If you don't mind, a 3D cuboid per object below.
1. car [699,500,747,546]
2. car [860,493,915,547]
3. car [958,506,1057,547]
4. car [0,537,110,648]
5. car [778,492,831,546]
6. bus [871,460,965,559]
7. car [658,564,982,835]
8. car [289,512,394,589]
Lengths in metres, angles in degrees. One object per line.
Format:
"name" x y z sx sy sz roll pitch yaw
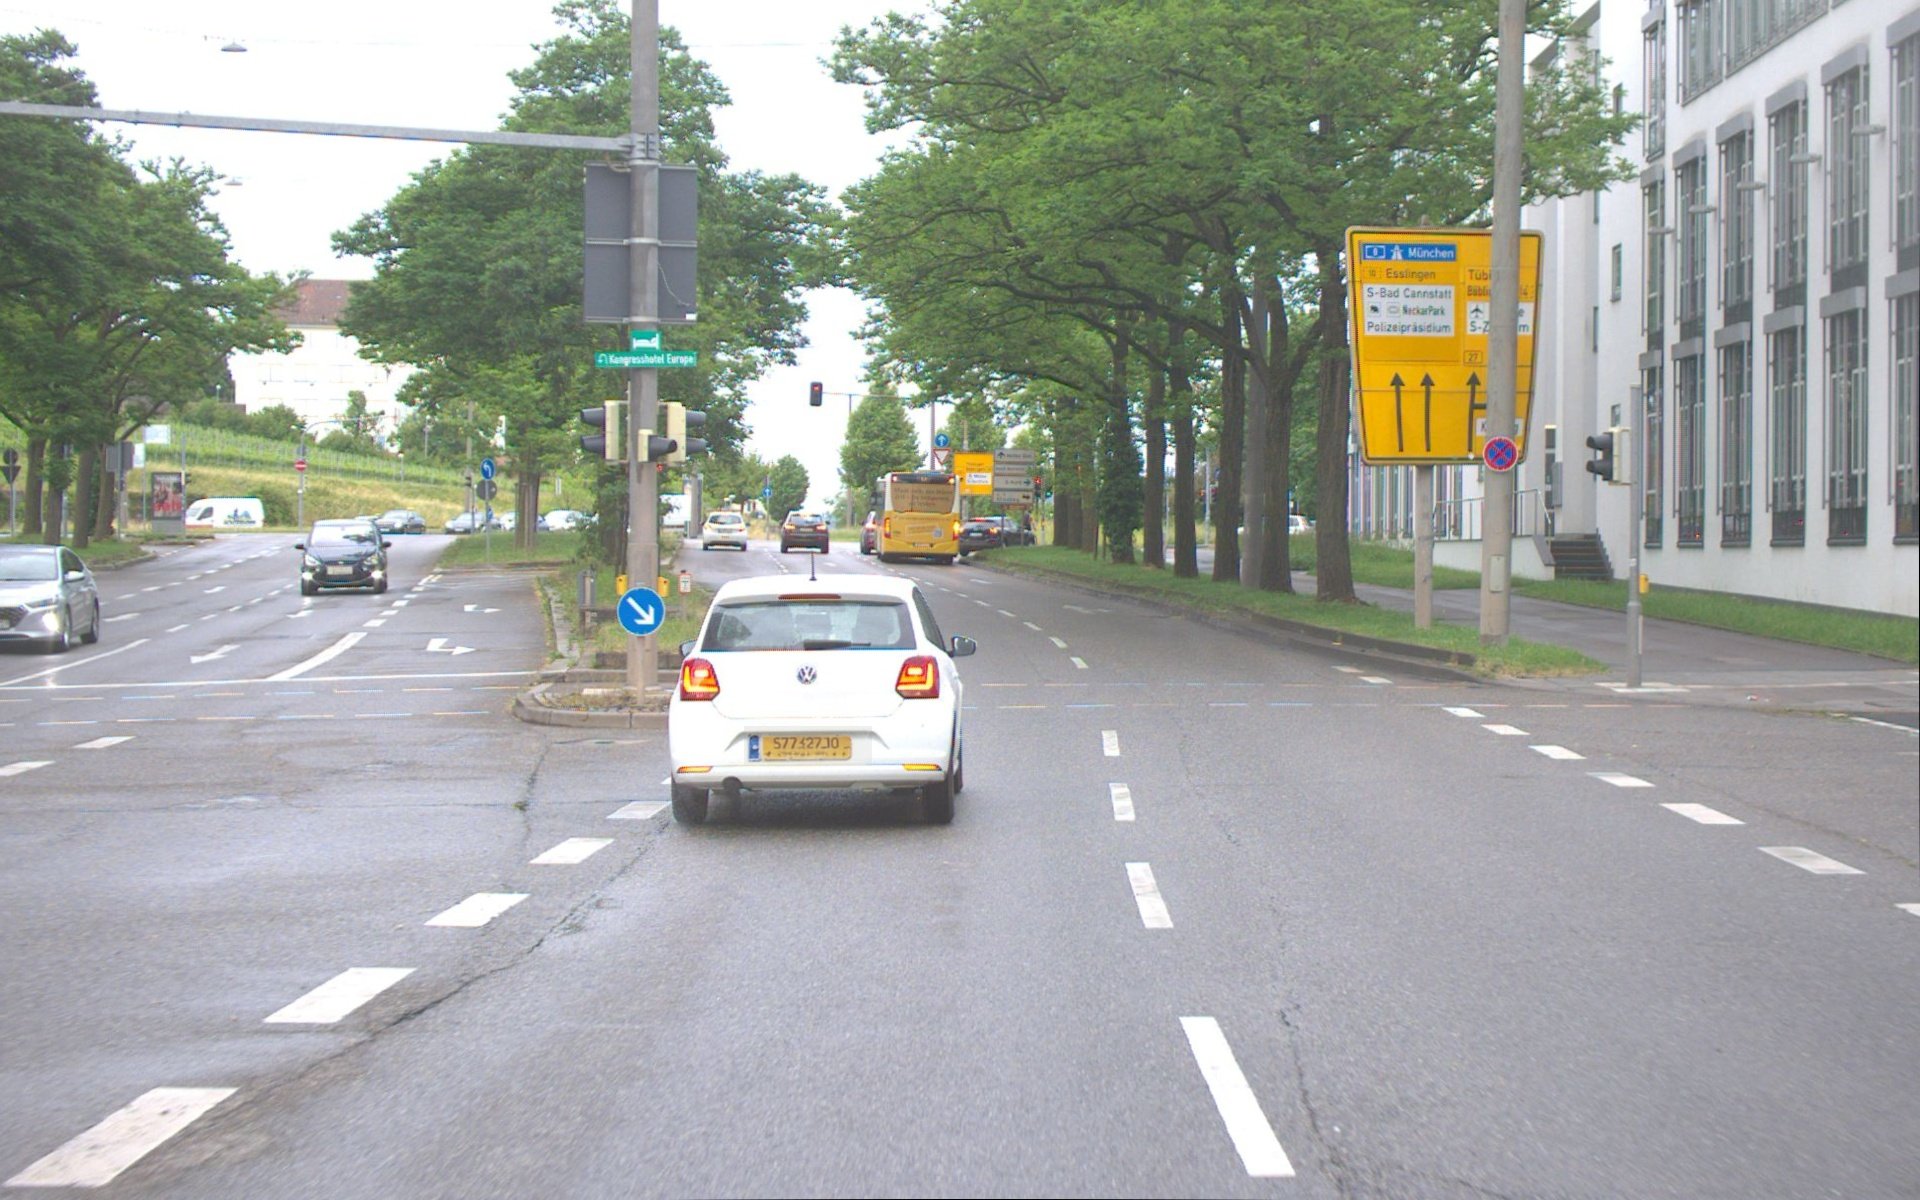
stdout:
"car" -9.147 -2.959 132.868 1.794 1.735 4.001 -1 1 -4
"car" -2.800 -3.071 132.351 1.993 2.007 4.001 0 1 -3
"car" 1.818 -2.784 131.365 1.699 1.510 3.818 1 1 42
"car" -13.084 -0.125 47.696 1.814 1.406 4.657 -1 2 -6
"car" -5.955 -3.075 131.400 1.993 2.007 4.001 0 1 -3
"bus" -1.523 -3.147 118.936 2.828 3.255 10.002 1 2 -3
"car" -0.851 0.539 21.300 1.794 1.497 4.000 1 1 -2
"car" -14.014 -1.154 78.134 1.993 1.610 5.122 -1 2 -7
